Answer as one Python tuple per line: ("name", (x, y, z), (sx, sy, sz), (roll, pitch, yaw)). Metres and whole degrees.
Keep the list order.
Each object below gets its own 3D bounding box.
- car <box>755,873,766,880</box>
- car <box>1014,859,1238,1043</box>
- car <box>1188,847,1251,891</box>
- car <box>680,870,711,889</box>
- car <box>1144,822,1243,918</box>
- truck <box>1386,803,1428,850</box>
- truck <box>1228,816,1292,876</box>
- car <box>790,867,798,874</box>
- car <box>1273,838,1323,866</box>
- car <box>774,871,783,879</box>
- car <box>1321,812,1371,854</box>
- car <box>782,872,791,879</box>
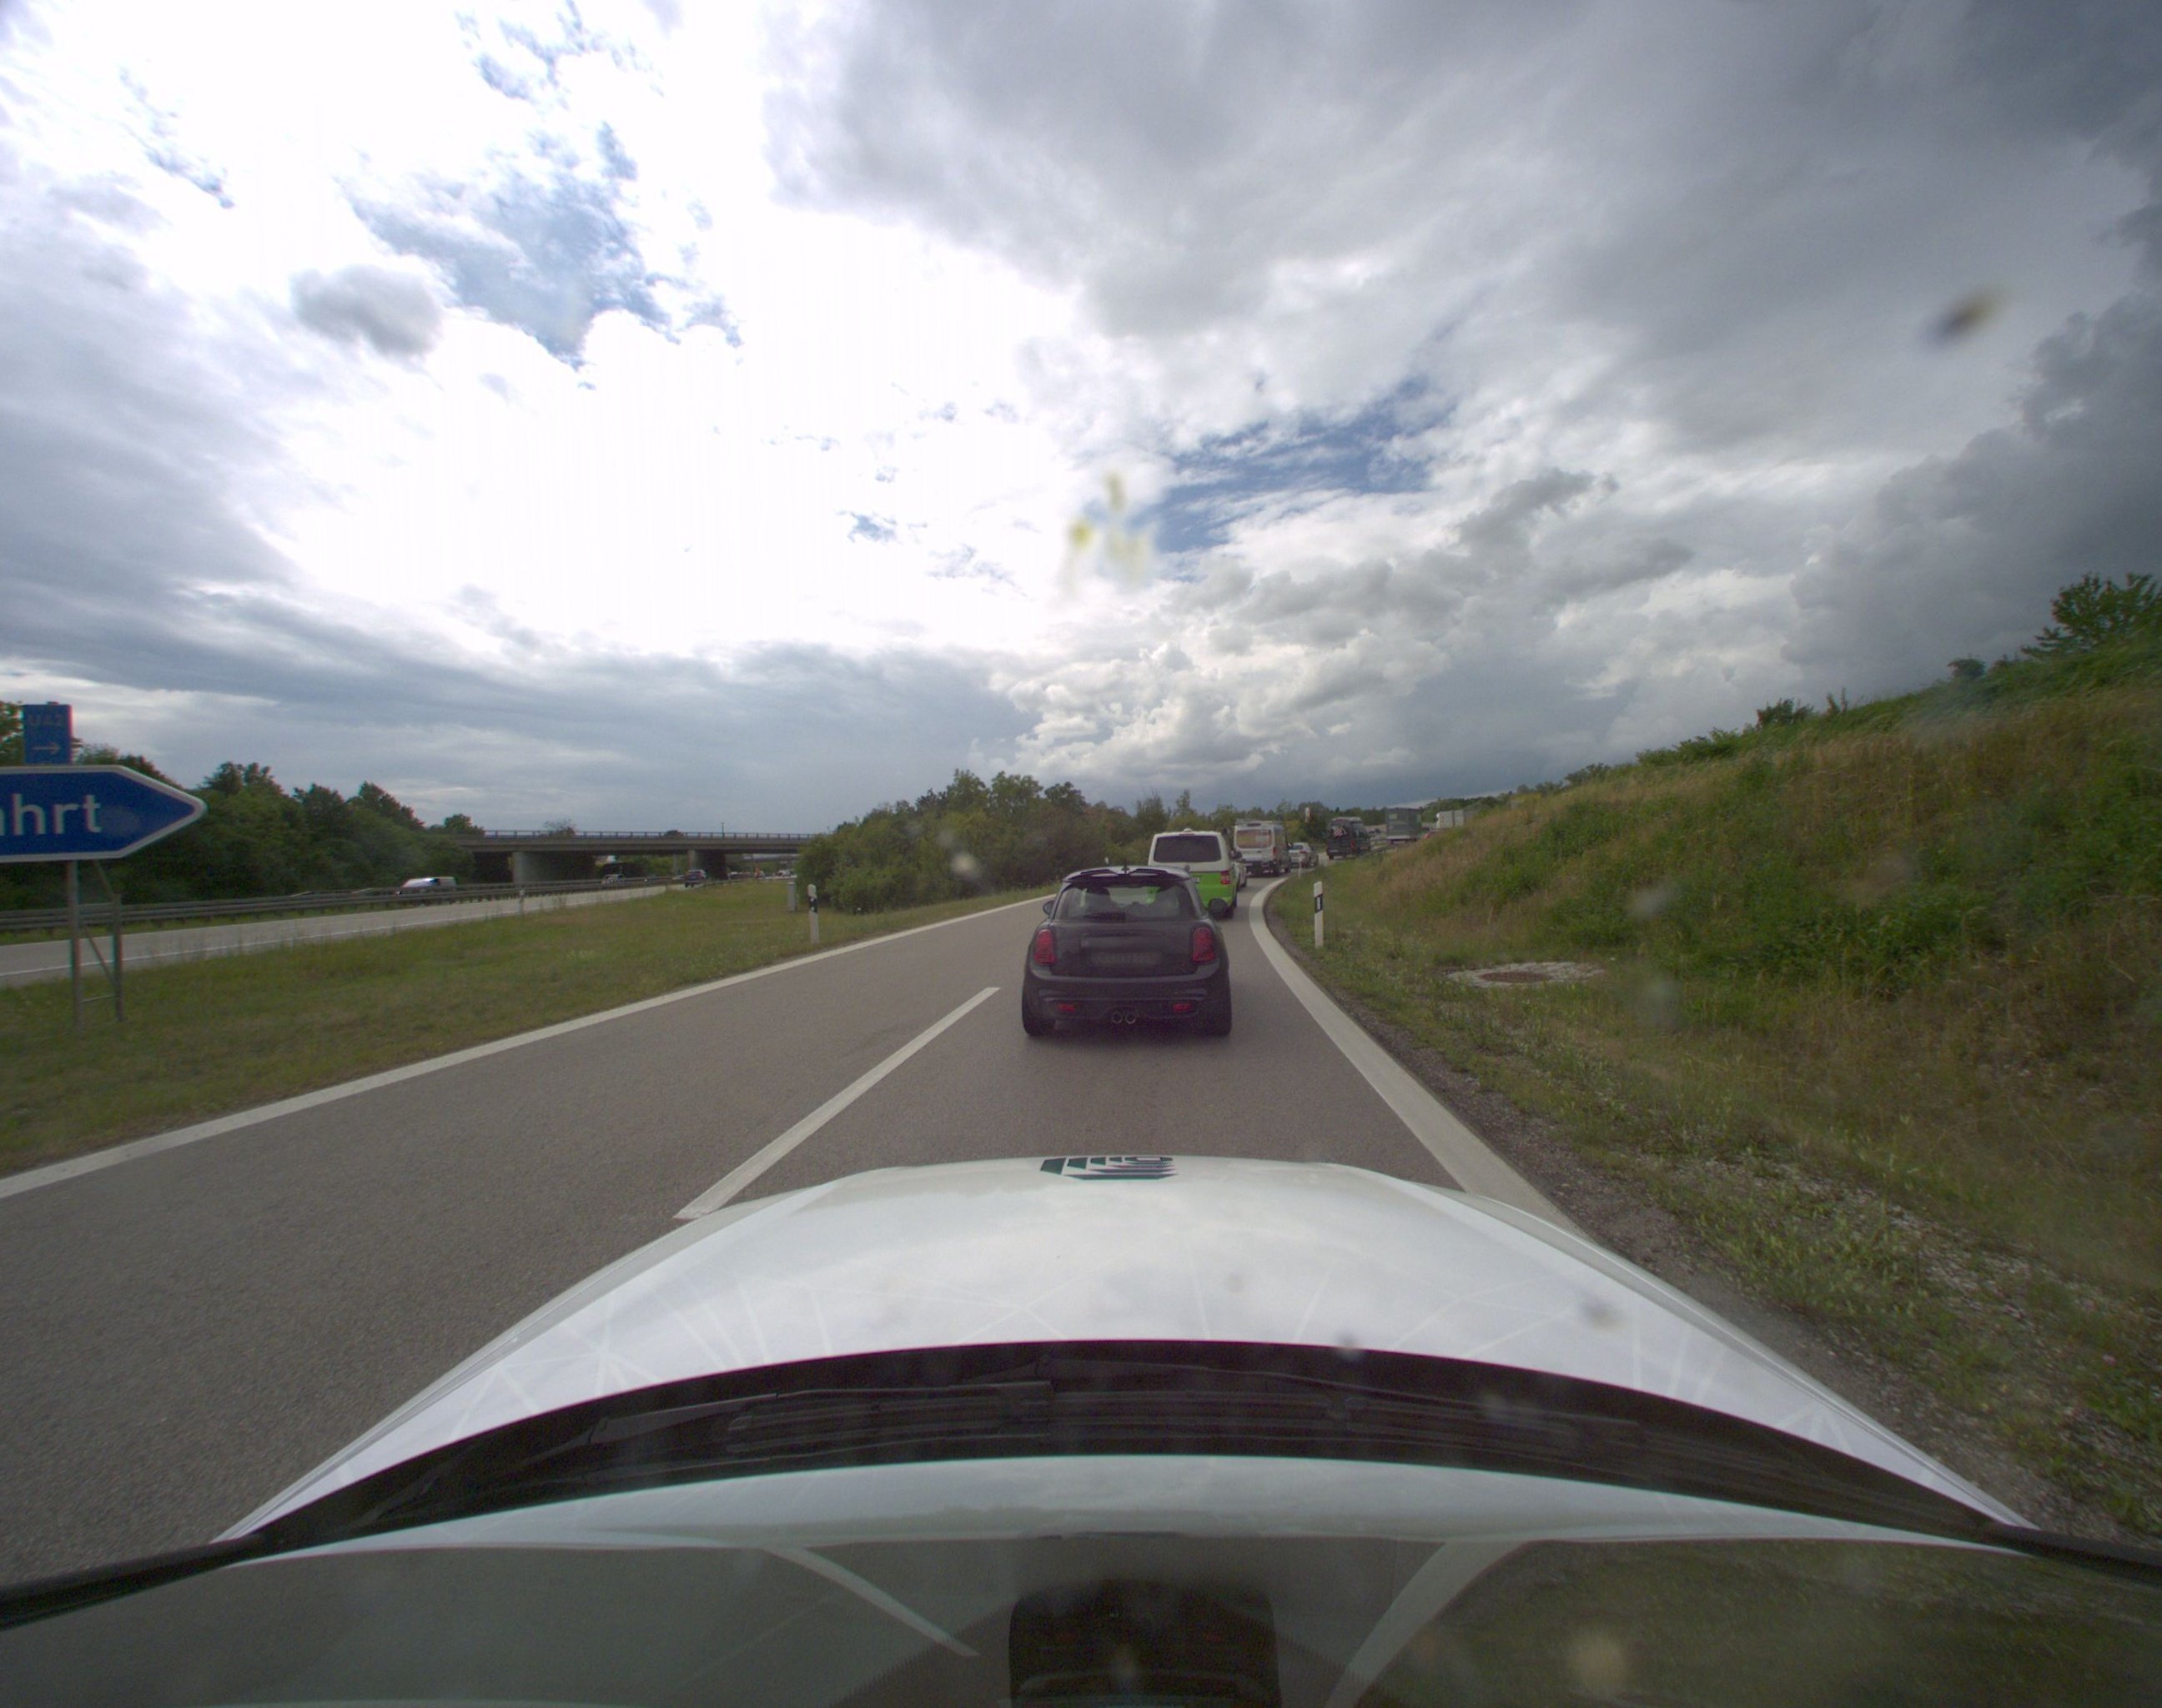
("car", (-66.433, 4.672, 168.772), (1.841, 1.453, 4.352), (-2, -1, -17))
("car", (0.534, 0.777, 8.179), (1.718, 1.413, 3.731), (-1, -1, 6))
("car", (4.981, 0.514, 29.019), (1.749, 1.399, 3.741), (-2, -1, 16))
("car", (-40.088, 2.626, 84.780), (1.997, 1.761, 4.898), (-1, -1, -15))
("car", (2.742, 0.360, 19.078), (1.771, 2.014, 4.016), (-1, -1, 15))
("truck", (30.068, -2.430, 74.963), (2.207, 3.907, 6.054), (-1, -2, 35))
("truck", (8.688, -0.366, 39.124), (2.159, 2.658, 5.136), (-2, 0, 21))
("car", (-84.983, 4.900, 241.320), (1.998, 1.743, 4.802), (-2, -1, -16))
("car", (12.612, -0.083, 47.156), (1.848, 1.510, 4.025), (-2, -1, 29))
("car", (-78.588, 5.527, 211.697), (2.000, 2.014, 3.973), (0, -2, -19))
("car", (18.450, -1.399, 56.541), (2.084, 2.796, 4.025), (-1, -1, 37))
("car", (-67.724, 4.861, 187.151), (1.722, 1.519, 3.976), (-2, -1, -17))
